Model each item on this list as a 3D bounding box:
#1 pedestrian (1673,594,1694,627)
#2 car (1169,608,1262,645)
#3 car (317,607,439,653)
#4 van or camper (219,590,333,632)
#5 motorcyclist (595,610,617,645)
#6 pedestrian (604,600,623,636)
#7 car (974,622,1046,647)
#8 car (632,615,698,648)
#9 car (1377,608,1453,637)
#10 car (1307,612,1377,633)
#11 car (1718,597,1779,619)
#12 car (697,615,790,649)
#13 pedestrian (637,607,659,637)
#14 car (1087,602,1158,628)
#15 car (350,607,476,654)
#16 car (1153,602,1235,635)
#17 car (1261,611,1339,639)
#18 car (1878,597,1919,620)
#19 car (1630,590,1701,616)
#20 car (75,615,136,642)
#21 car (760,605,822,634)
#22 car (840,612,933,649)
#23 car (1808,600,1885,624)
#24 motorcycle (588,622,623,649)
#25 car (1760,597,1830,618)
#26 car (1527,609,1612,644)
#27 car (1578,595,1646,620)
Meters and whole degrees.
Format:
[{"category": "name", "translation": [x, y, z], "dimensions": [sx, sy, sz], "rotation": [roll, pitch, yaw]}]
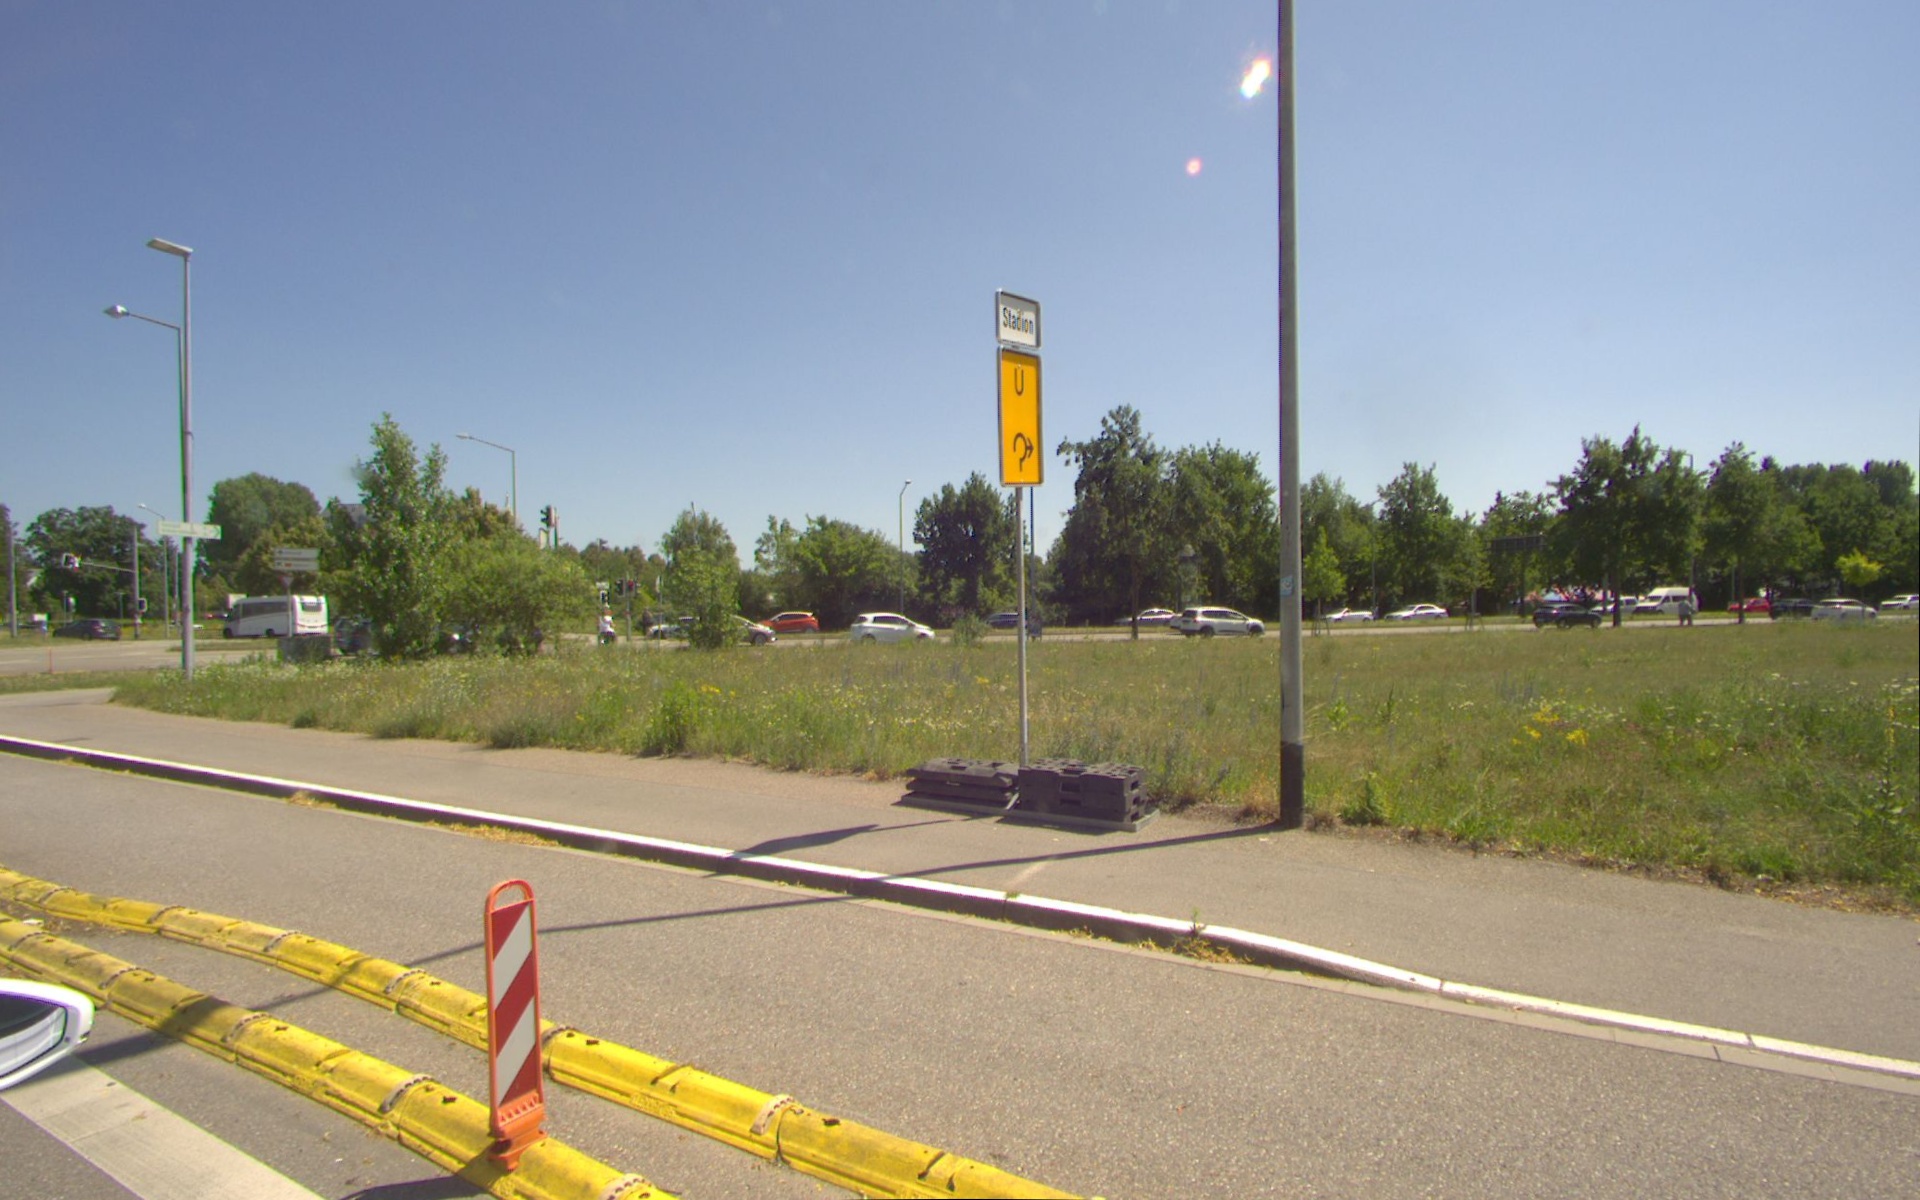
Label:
[{"category": "pedestrian", "translation": [34.715, 0.522, 48.036], "dimensions": [0.724, 1.583, 0.497], "rotation": [0, 0, -18]}, {"category": "car", "translation": [13.115, 1.371, 51.477], "dimensions": [4.189, 1.839, 1.996], "rotation": [0, -1, -18]}, {"category": "car", "translation": [-23.155, 1.144, 39.896], "dimensions": [3.949, 1.517, 1.635], "rotation": [-4, 2, -37]}, {"category": "van or camper", "translation": [-46.859, 0.784, 68.570], "dimensions": [7.378, 2.728, 2.510], "rotation": [-1, -1, 18]}, {"category": "motorcyclist", "translation": [-13.169, 1.027, 37.230], "dimensions": [0.570, 1.306, 0.615], "rotation": [0, -1, 3]}, {"category": "pedestrian", "translation": [-18.346, 0.948, 52.967], "dimensions": [0.726, 1.894, 0.648], "rotation": [-1, -1, 34]}, {"category": "car", "translation": [3.417, 2.346, 68.415], "dimensions": [4.607, 1.710, 1.735], "rotation": [0, -1, -13]}, {"category": "car", "translation": [-18.578, 1.966, 63.181], "dimensions": [3.928, 2.040, 1.997], "rotation": [0, -1, -15]}, {"category": "car", "translation": [33.623, 1.662, 74.092], "dimensions": [4.993, 2.040, 1.997], "rotation": [0, -1, -15]}, {"category": "car", "translation": [29.115, 1.721, 76.296], "dimensions": [4.696, 1.590, 1.997], "rotation": [0, -1, -15]}, {"category": "car", "translation": [69.657, 0.705, 88.481], "dimensions": [4.522, 1.874, 1.997], "rotation": [0, -1, -16]}, {"category": "car", "translation": [-10.244, 1.508, 47.352], "dimensions": [4.187, 1.543, 1.819], "rotation": [0, -1, -17]}, {"category": "pedestrian", "translation": [-16.619, 1.156, 53.335], "dimensions": [0.812, 1.583, 0.790], "rotation": [-1, -1, 36]}, {"category": "car", "translation": [10.950, 1.017, 67.653], "dimensions": [4.298, 1.739, 1.998], "rotation": [0, -1, -13]}, {"category": "car", "translation": [-20.099, 1.108, 36.841], "dimensions": [3.961, 1.641, 1.725], "rotation": [1, -1, -35]}, {"category": "car", "translation": [13.511, 1.068, 57.769], "dimensions": [4.189, 1.839, 1.996], "rotation": [0, -1, -18]}, {"category": "car", "translation": [19.667, 1.453, 57.949], "dimensions": [3.928, 1.605, 1.837], "rotation": [0, -1, -15]}, {"category": "car", "translation": [84.562, 0.785, 89.004], "dimensions": [4.993, 2.040, 1.997], "rotation": [0, -1, -15]}, {"category": "car", "translation": [57.377, 0.244, 81.447], "dimensions": [4.993, 2.040, 1.997], "rotation": [0, -1, -15]}, {"category": "car", "translation": [-53.450, 1.795, 62.646], "dimensions": [3.173, 1.627, 1.647], "rotation": [-1, -1, 22]}, {"category": "car", "translation": [-10.422, 1.225, 61.643], "dimensions": [3.690, 1.739, 1.998], "rotation": [0, -1, -13]}, {"category": "car", "translation": [-3.369, 1.374, 45.922], "dimensions": [3.947, 1.641, 1.675], "rotation": [0, -1, -23]}, {"category": "car", "translation": [56.318, 0.767, 63.622], "dimensions": [3.946, 1.463, 1.632], "rotation": [0, -1, -11]}, {"category": "motorcycle", "translation": [-13.143, 1.318, 37.185], "dimensions": [0.619, 0.982, 1.709], "rotation": [0, -1, 3]}, {"category": "car", "translation": [58.023, 0.532, 69.582], "dimensions": [3.931, 1.425, 1.996], "rotation": [0, -1, -19]}, {"category": "car", "translation": [36.399, 1.598, 59.841], "dimensions": [3.924, 2.040, 1.999], "rotation": [0, -1, -8]}, {"category": "car", "translation": [54.851, 0.622, 84.256], "dimensions": [4.993, 2.040, 1.997], "rotation": [0, -1, -15]}]
